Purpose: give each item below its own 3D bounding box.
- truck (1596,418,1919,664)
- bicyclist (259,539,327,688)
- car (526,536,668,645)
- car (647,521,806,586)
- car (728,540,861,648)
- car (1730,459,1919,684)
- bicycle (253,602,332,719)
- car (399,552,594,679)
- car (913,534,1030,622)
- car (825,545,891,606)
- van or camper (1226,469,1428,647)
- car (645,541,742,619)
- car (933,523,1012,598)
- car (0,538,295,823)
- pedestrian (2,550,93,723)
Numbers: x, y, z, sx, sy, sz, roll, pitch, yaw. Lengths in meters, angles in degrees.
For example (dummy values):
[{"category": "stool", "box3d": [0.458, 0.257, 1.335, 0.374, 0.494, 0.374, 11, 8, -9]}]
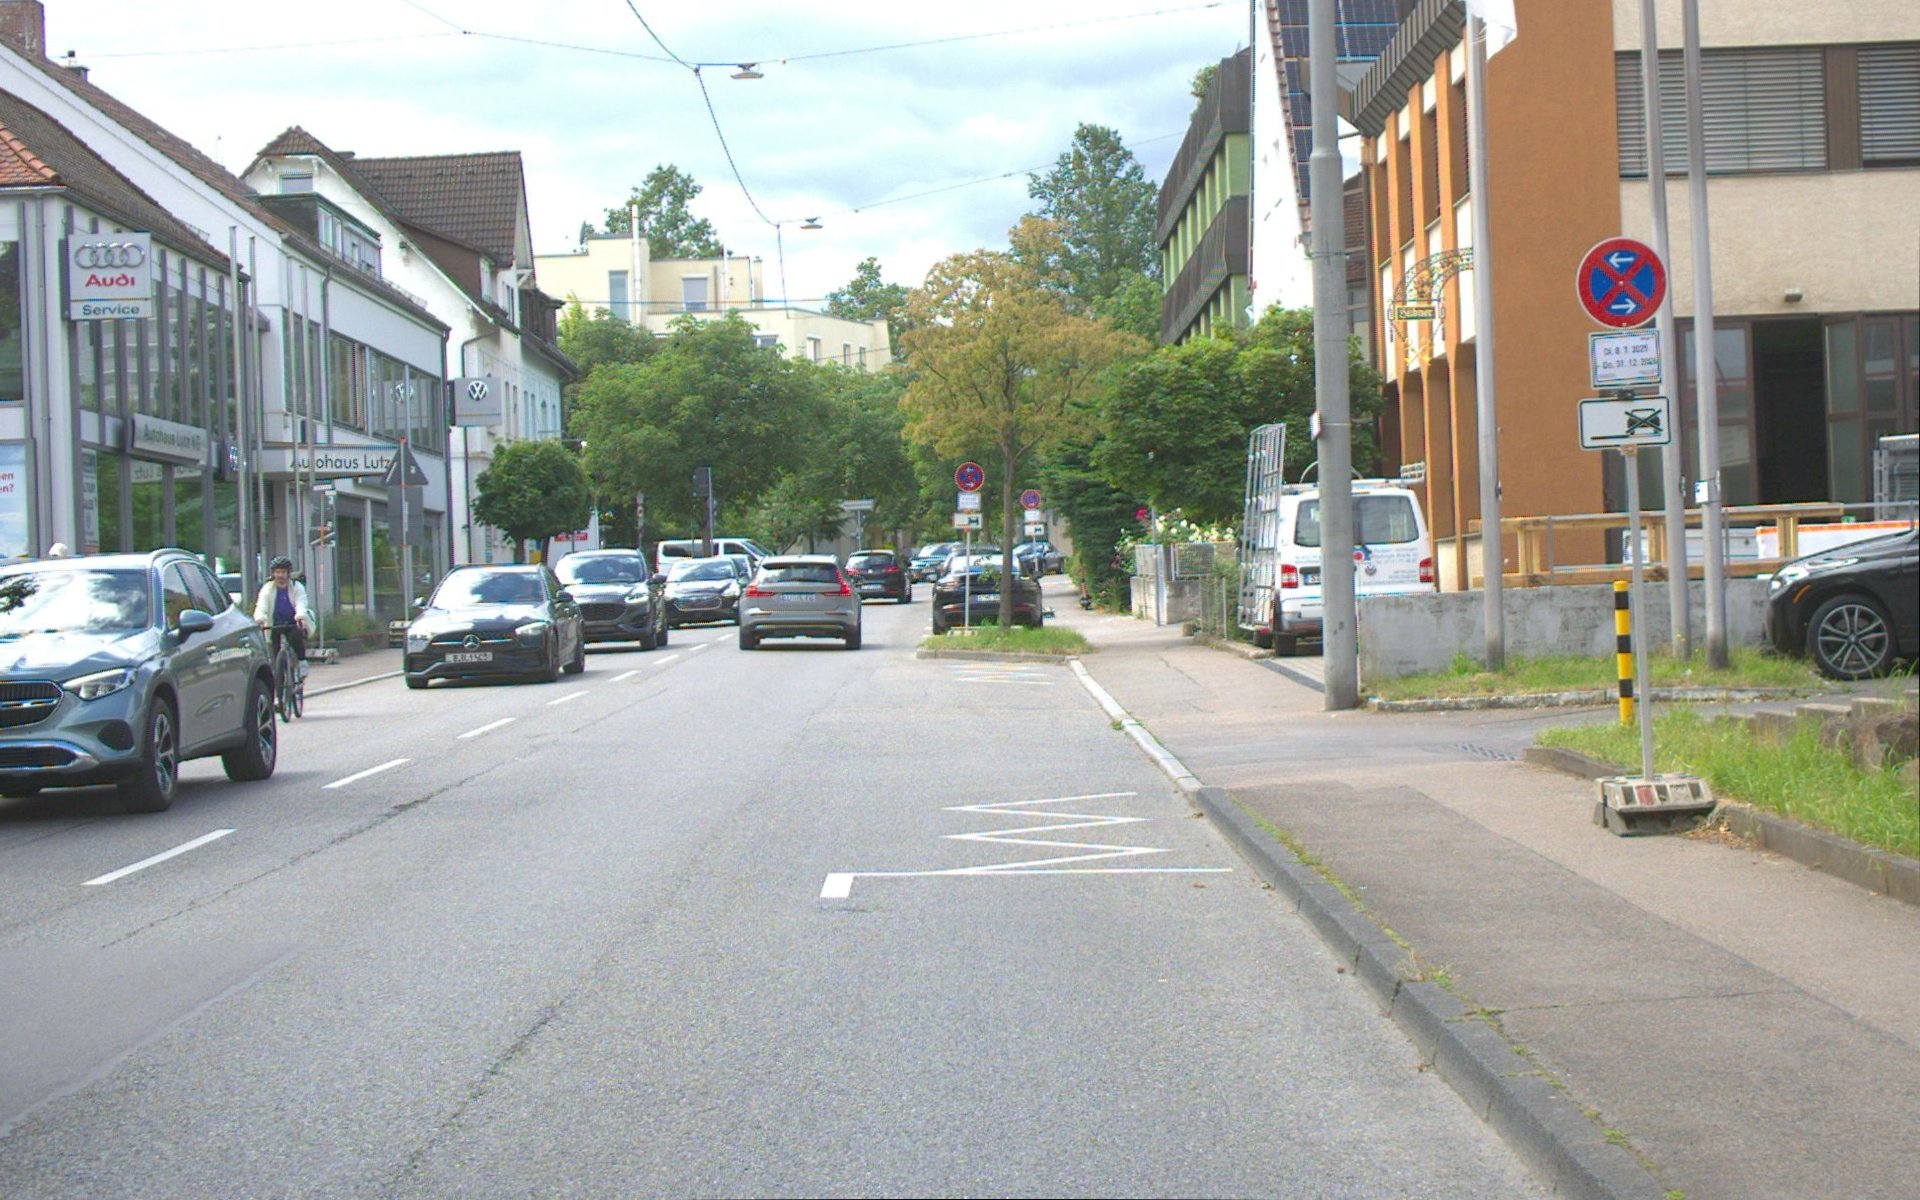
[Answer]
[{"category": "truck", "box3d": [9.527, -0.670, 36.416, 5.087, 2.449, 2.357, -1, 2, 0]}, {"category": "bicyclist", "box3d": [-6.645, 0.128, 34.286, 0.469, 1.444, 0.865, -3, 1, -3]}, {"category": "car", "box3d": [-5.833, -0.194, 55.692, 1.831, 1.624, 4.321, -2, 1, -1]}, {"category": "car", "box3d": [-8.438, -1.690, 124.497, 5.216, 1.986, 2.107, -4, 1, 18]}, {"category": "car", "box3d": [-2.564, -0.068, 54.102, 1.956, 1.518, 4.329, -1, -2, -1]}, {"category": "car", "box3d": [8.268, -0.335, 26.113, 4.313, 1.625, 1.632, -4, 1, 36]}, {"category": "bicycle", "box3d": [-6.630, 0.583, 34.199, 0.454, 1.083, 1.870, -3, 1, -3]}, {"category": "car", "box3d": [-5.747, 0.159, 43.100, 1.740, 1.424, 4.524, -3, 1, 0]}, {"category": "car", "box3d": [0.199, -0.391, 61.994, 1.984, 1.443, 4.752, -2, 0, 0]}, {"category": "car", "box3d": [-2.693, -0.631, 90.366, 1.614, 1.518, 3.570, -2, 0, -3]}, {"category": "van or camper", "box3d": [4.405, -0.482, 41.851, 1.867, 2.025, 4.548, -1, 0, -1]}, {"category": "car", "box3d": [-5.521, -0.408, 71.649, 1.831, 1.518, 4.171, -2, 0, -3]}, {"category": "car", "box3d": [0.329, -0.912, 81.271, 1.690, 1.661, 4.462, -2, 0, 2]}, {"category": "car", "box3d": [-5.804, 0.458, 22.562, 1.865, 1.612, 4.535, -3, 1, 1]}, {"category": "pedestrian", "box3d": [-9.237, 0.366, 34.813, 0.682, 1.731, 0.868, -1, 0, -1]}]
